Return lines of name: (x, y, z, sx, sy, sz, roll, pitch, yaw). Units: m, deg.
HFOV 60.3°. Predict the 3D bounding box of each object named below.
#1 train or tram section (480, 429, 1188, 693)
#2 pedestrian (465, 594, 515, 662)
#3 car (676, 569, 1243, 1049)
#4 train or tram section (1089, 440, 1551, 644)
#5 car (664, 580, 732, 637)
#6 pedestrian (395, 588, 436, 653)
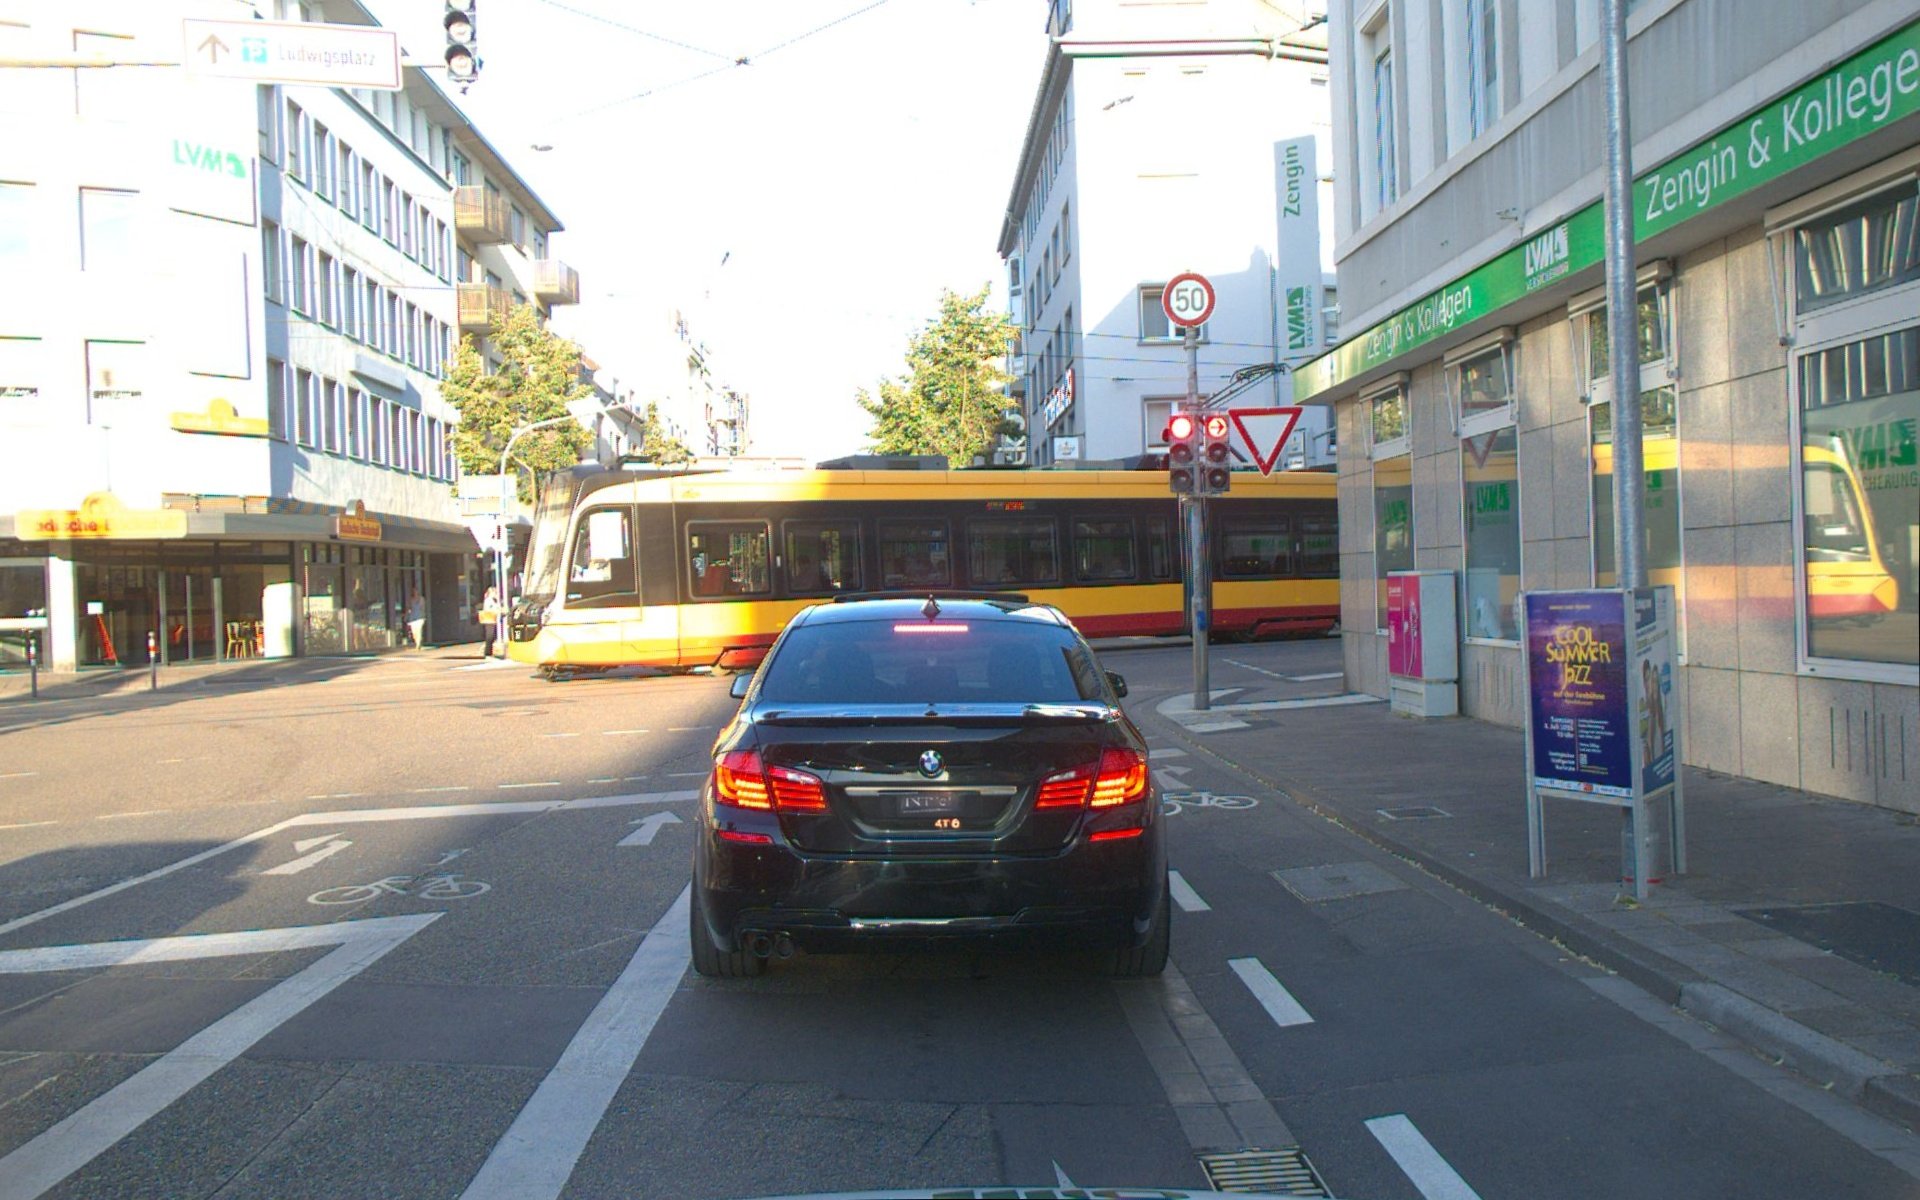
train or tram section: (-1.783, -0.833, 29.340, 12.498, 3.932, 3.047, -3, 1, -33)
pedestrian: (-11.113, 0.654, 39.141, 0.927, 1.564, 0.907, -2, 0, -6)
car: (-0.112, 0.658, 7.676, 1.865, 1.567, 4.447, 0, 1, -3)
train or tram section: (7.903, -1.310, 35.443, 10.319, 3.877, 3.049, -3, 1, -31)
car: (-8.171, 0.245, 51.922, 1.956, 1.646, 3.993, -2, 1, -8)
pedestrian: (-14.849, 0.549, 45.131, 0.807, 1.705, 0.871, -2, 0, -3)
